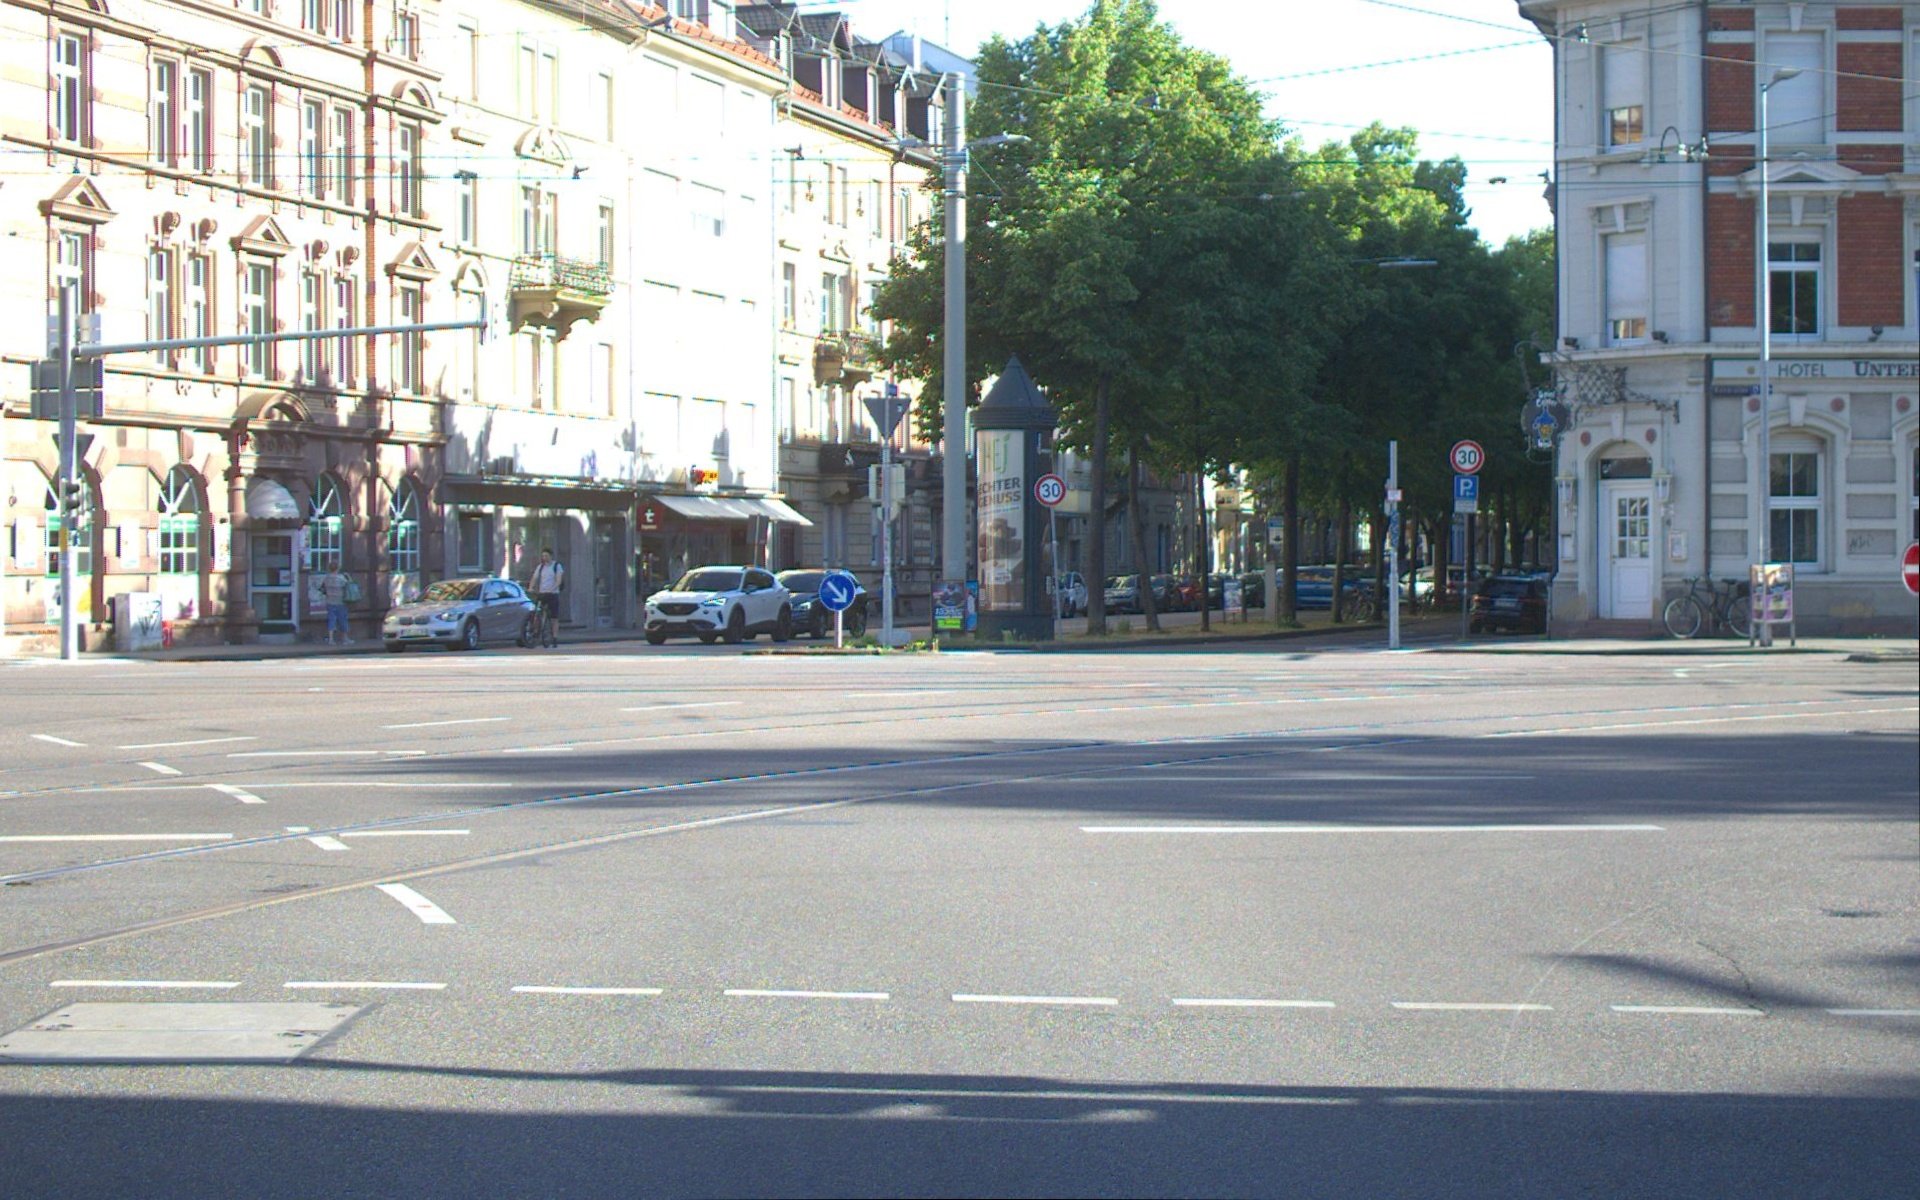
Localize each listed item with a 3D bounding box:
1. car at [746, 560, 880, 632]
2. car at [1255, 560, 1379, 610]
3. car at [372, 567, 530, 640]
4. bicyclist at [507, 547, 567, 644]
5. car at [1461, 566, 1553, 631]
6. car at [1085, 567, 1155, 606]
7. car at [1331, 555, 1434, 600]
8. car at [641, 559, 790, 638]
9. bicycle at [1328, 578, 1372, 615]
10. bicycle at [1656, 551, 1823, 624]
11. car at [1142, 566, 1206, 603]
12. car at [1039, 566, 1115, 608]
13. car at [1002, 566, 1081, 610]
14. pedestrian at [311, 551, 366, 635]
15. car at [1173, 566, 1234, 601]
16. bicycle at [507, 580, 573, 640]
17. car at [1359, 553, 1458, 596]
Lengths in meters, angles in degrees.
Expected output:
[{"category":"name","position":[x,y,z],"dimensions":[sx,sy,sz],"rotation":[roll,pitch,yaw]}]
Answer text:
[{"category":"car","position":[-3.112,-0.103,73.603],"dimensions":[1.678,1.478,3.945],"rotation":[0,1,17]},{"category":"car","position":[12.005,-0.509,115.664],"dimensions":[3.905,1.642,1.681],"rotation":[0,1,17]},{"category":"car","position":[-9.865,0.055,66.898],"dimensions":[1.678,1.349,3.588],"rotation":[0,1,17]},{"category":"bicyclist","position":[-8.008,-0.089,65.127],"dimensions":[0.779,1.797,1.055],"rotation":[1,0,14]},{"category":"car","position":[13.159,-0.058,82.559],"dimensions":[1.678,1.478,3.945],"rotation":[0,1,17]},{"category":"car","position":[5.718,-0.491,122.428],"dimensions":[1.678,1.349,3.588],"rotation":[0,1,17]},{"category":"car","position":[15.728,-0.845,128.018],"dimensions":[3.582,1.642,1.681],"rotation":[0,1,17]},{"category":"car","position":[-4.755,-0.053,67.302],"dimensions":[1.678,1.478,3.768],"rotation":[0,1,17]},{"category":"bicycle","position":[11.272,-0.104,99.470],"dimensions":[0.636,1.018,1.847],"rotation":[1,1,-14]},{"category":"bicycle","position":[12.975,-0.209,57.261],"dimensions":[2.554,1.170,0.819],"rotation":[1,0,-3]},{"category":"car","position":[8.156,-0.613,130.734],"dimensions":[1.678,1.349,3.588],"rotation":[0,1,17]},{"category":"car","position":[3.947,-0.443,115.466],"dimensions":[1.678,1.349,3.588],"rotation":[0,1,17]},{"category":"car","position":[2.648,-0.400,111.310],"dimensions":[1.678,1.349,3.588],"rotation":[0,1,17]},{"category":"pedestrian","position":[-12.509,-0.138,69.225],"dimensions":[0.776,1.664,0.830],"rotation":[1,0,15]},{"category":"car","position":[9.628,-0.652,135.764],"dimensions":[1.678,1.349,3.588],"rotation":[0,1,17]},{"category":"bicycle","position":[-7.972,0.184,65.253],"dimensions":[0.702,1.114,1.634],"rotation":[1,1,13]},{"category":"car","position":[17.403,-0.999,133.492],"dimensions":[3.582,1.642,1.681],"rotation":[0,1,17]}]
